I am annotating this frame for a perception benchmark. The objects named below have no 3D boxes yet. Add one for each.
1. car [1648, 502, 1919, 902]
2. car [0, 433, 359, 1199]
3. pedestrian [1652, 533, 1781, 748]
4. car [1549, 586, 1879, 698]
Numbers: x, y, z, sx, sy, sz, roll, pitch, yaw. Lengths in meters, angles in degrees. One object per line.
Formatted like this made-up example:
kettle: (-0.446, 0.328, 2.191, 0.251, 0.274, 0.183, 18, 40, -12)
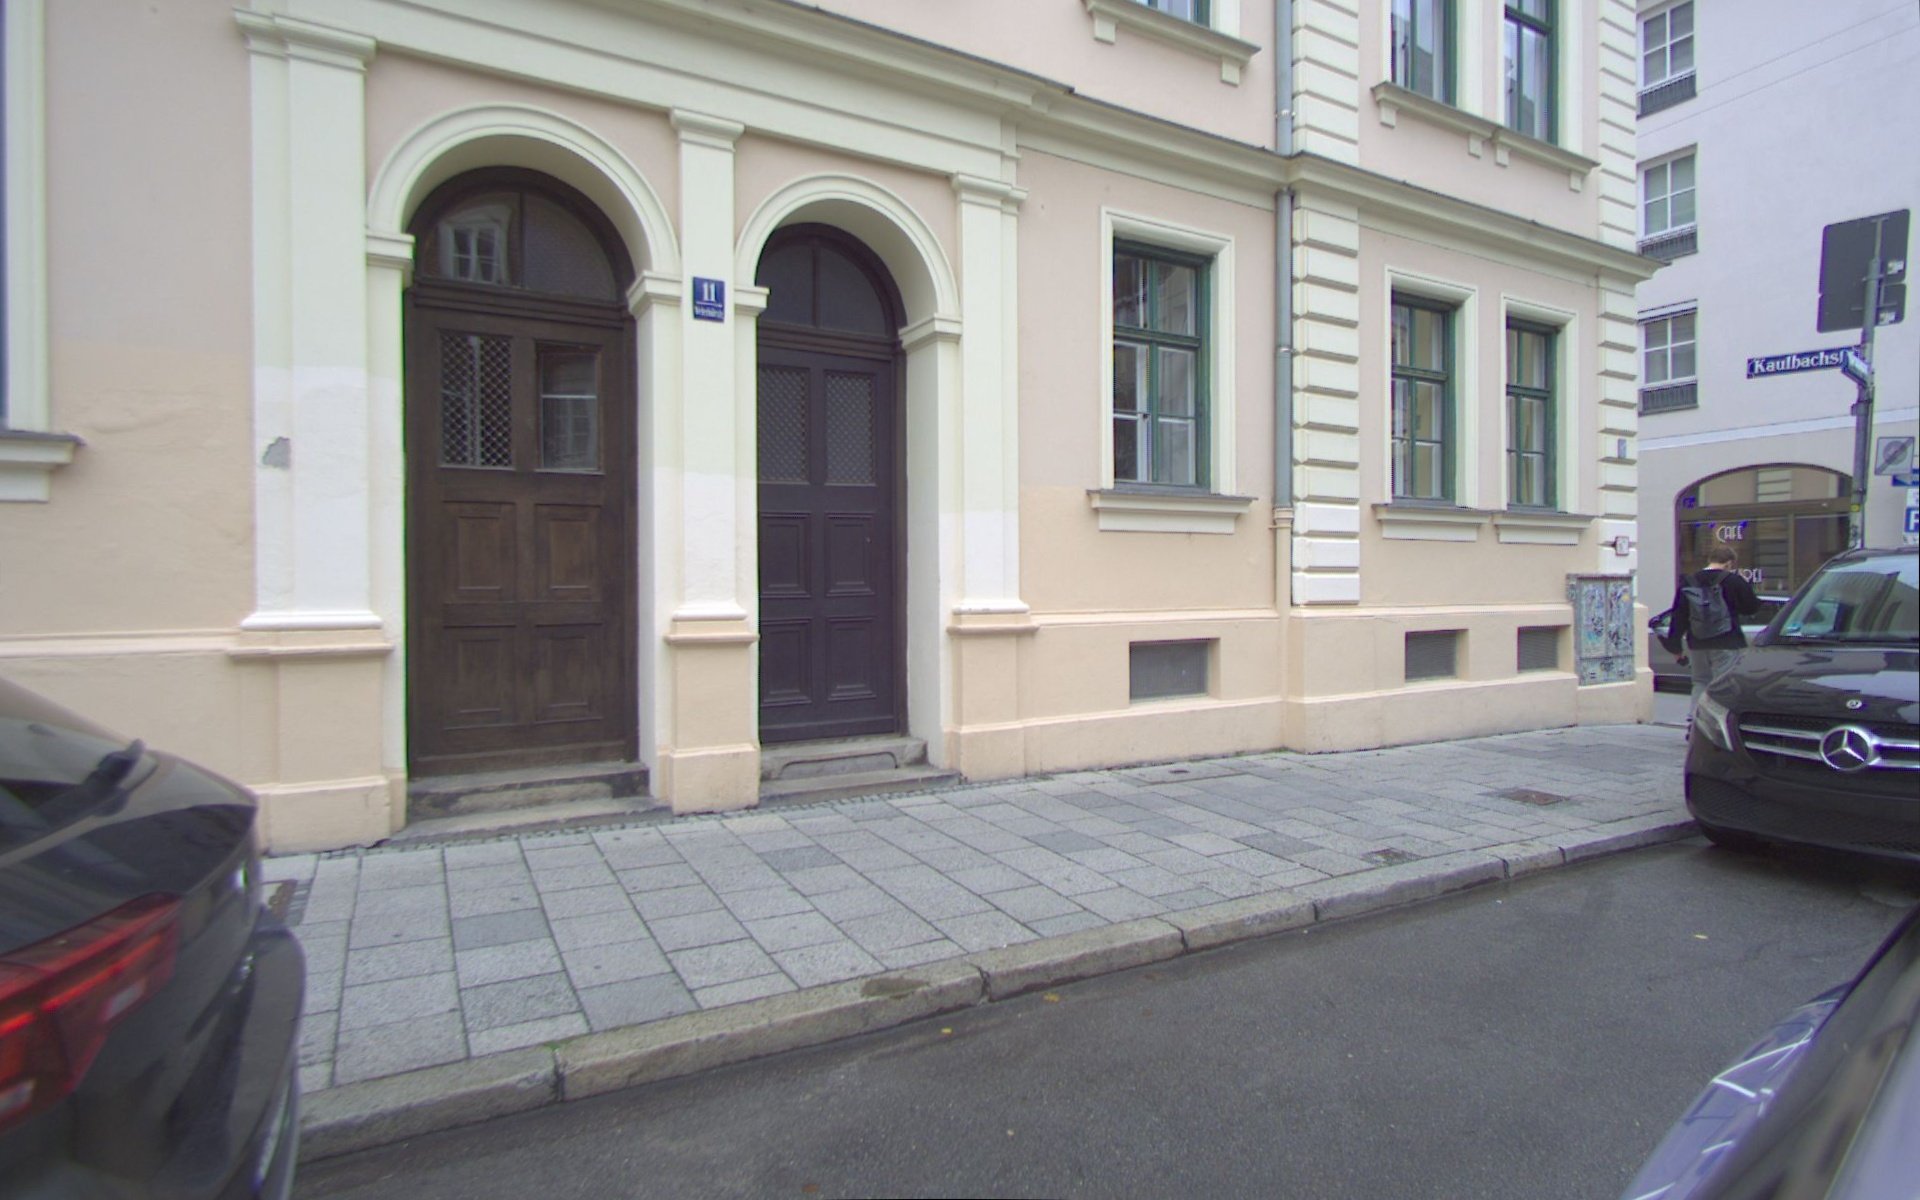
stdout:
car: (6.636, 0.466, 6.137, 5.010, 1.884, 2.003, 0, 1, -28)
car: (-2.806, 0.654, 0.698, 4.059, 1.586, 1.724, 0, 1, -29)
pedestrian: (6.760, 0.337, 9.051, 0.715, 1.825, 0.699, 0, 0, -30)
car: (12.144, 0.571, 16.568, 1.679, 1.585, 4.002, 0, 1, -32)
